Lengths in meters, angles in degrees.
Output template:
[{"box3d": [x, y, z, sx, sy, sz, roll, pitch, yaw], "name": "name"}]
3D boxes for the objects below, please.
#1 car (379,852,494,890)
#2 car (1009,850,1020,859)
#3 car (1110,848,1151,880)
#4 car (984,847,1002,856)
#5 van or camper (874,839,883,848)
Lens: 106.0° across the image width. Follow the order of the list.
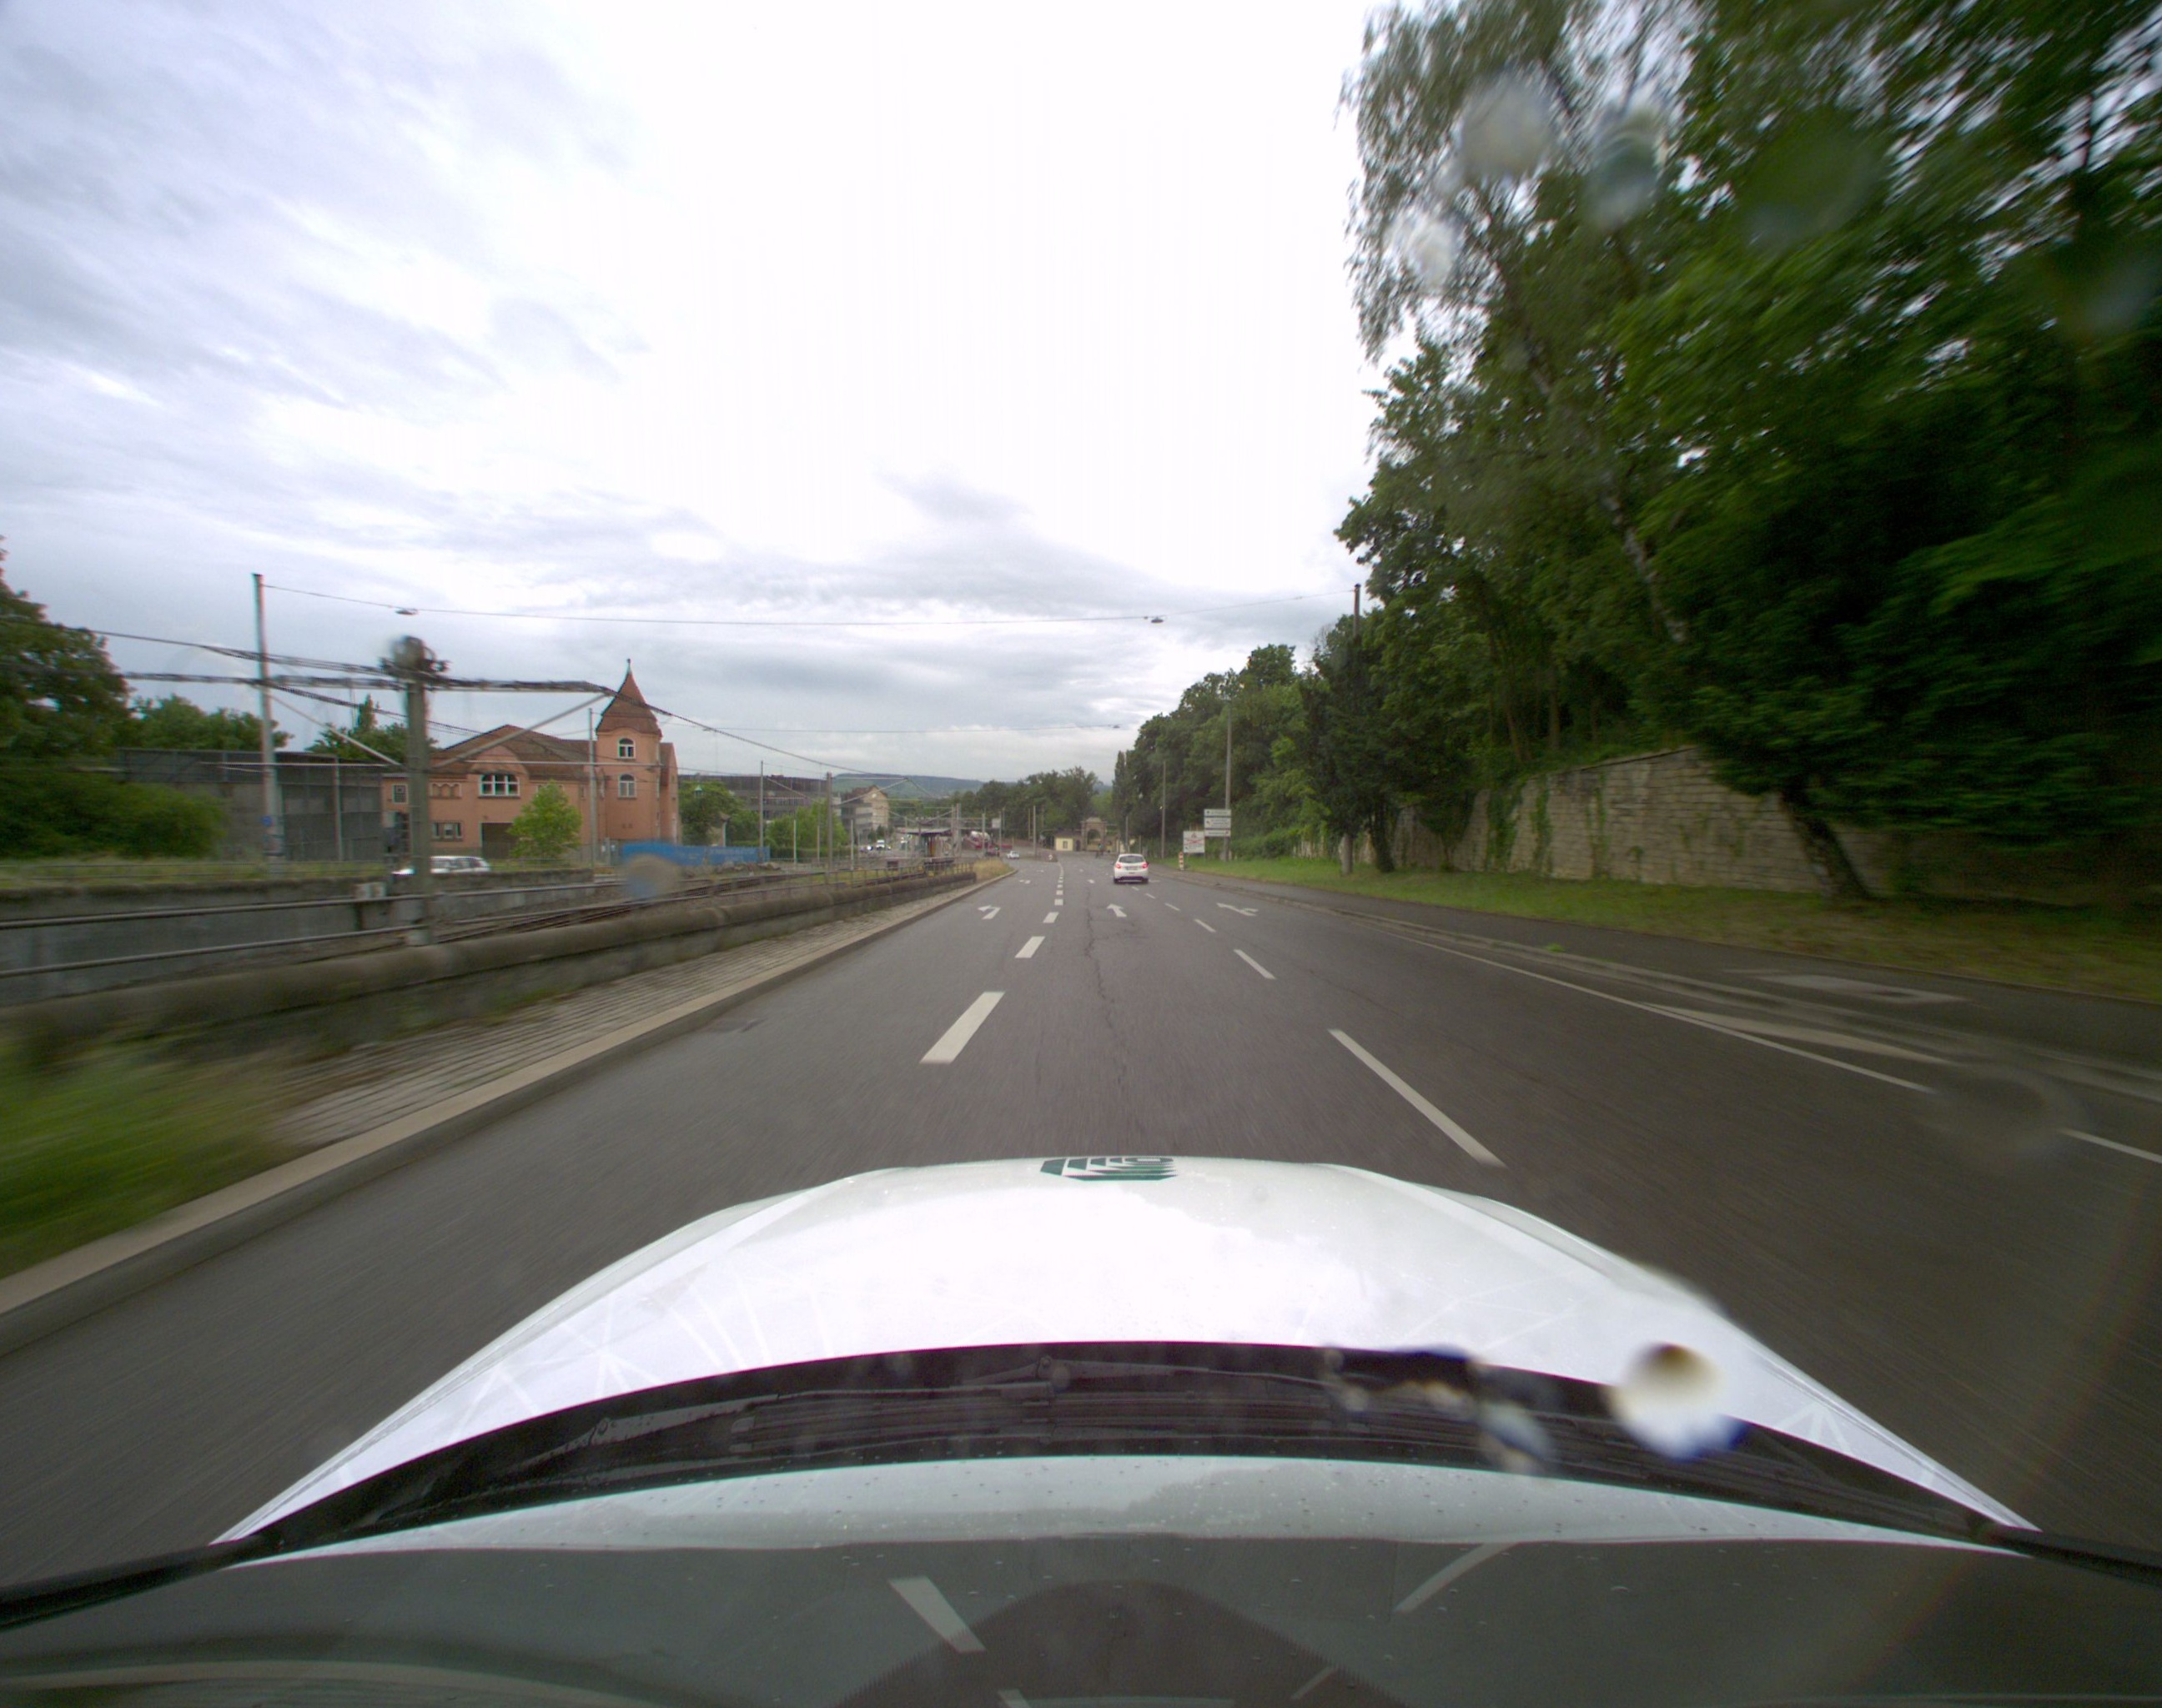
[{"box3d": [-24.570, 0.597, 31.204, 1.550, 1.292, 3.558, 1, 1, 0], "name": "car"}, {"box3d": [-12.505, 0.096, 152.648, 1.820, 1.606, 3.991, -2, 1, -6], "name": "car"}, {"box3d": [2.457, 0.491, 41.178, 1.862, 1.511, 3.900, -1, 0, 1], "name": "car"}, {"box3d": [-17.674, -0.476, 163.523, 2.006, 1.706, 3.961, 0, 1, -30], "name": "car"}, {"box3d": [-51.402, -2.631, 206.809, 1.993, 2.344, 3.987, -2, 0, -9], "name": "van or camper"}]
